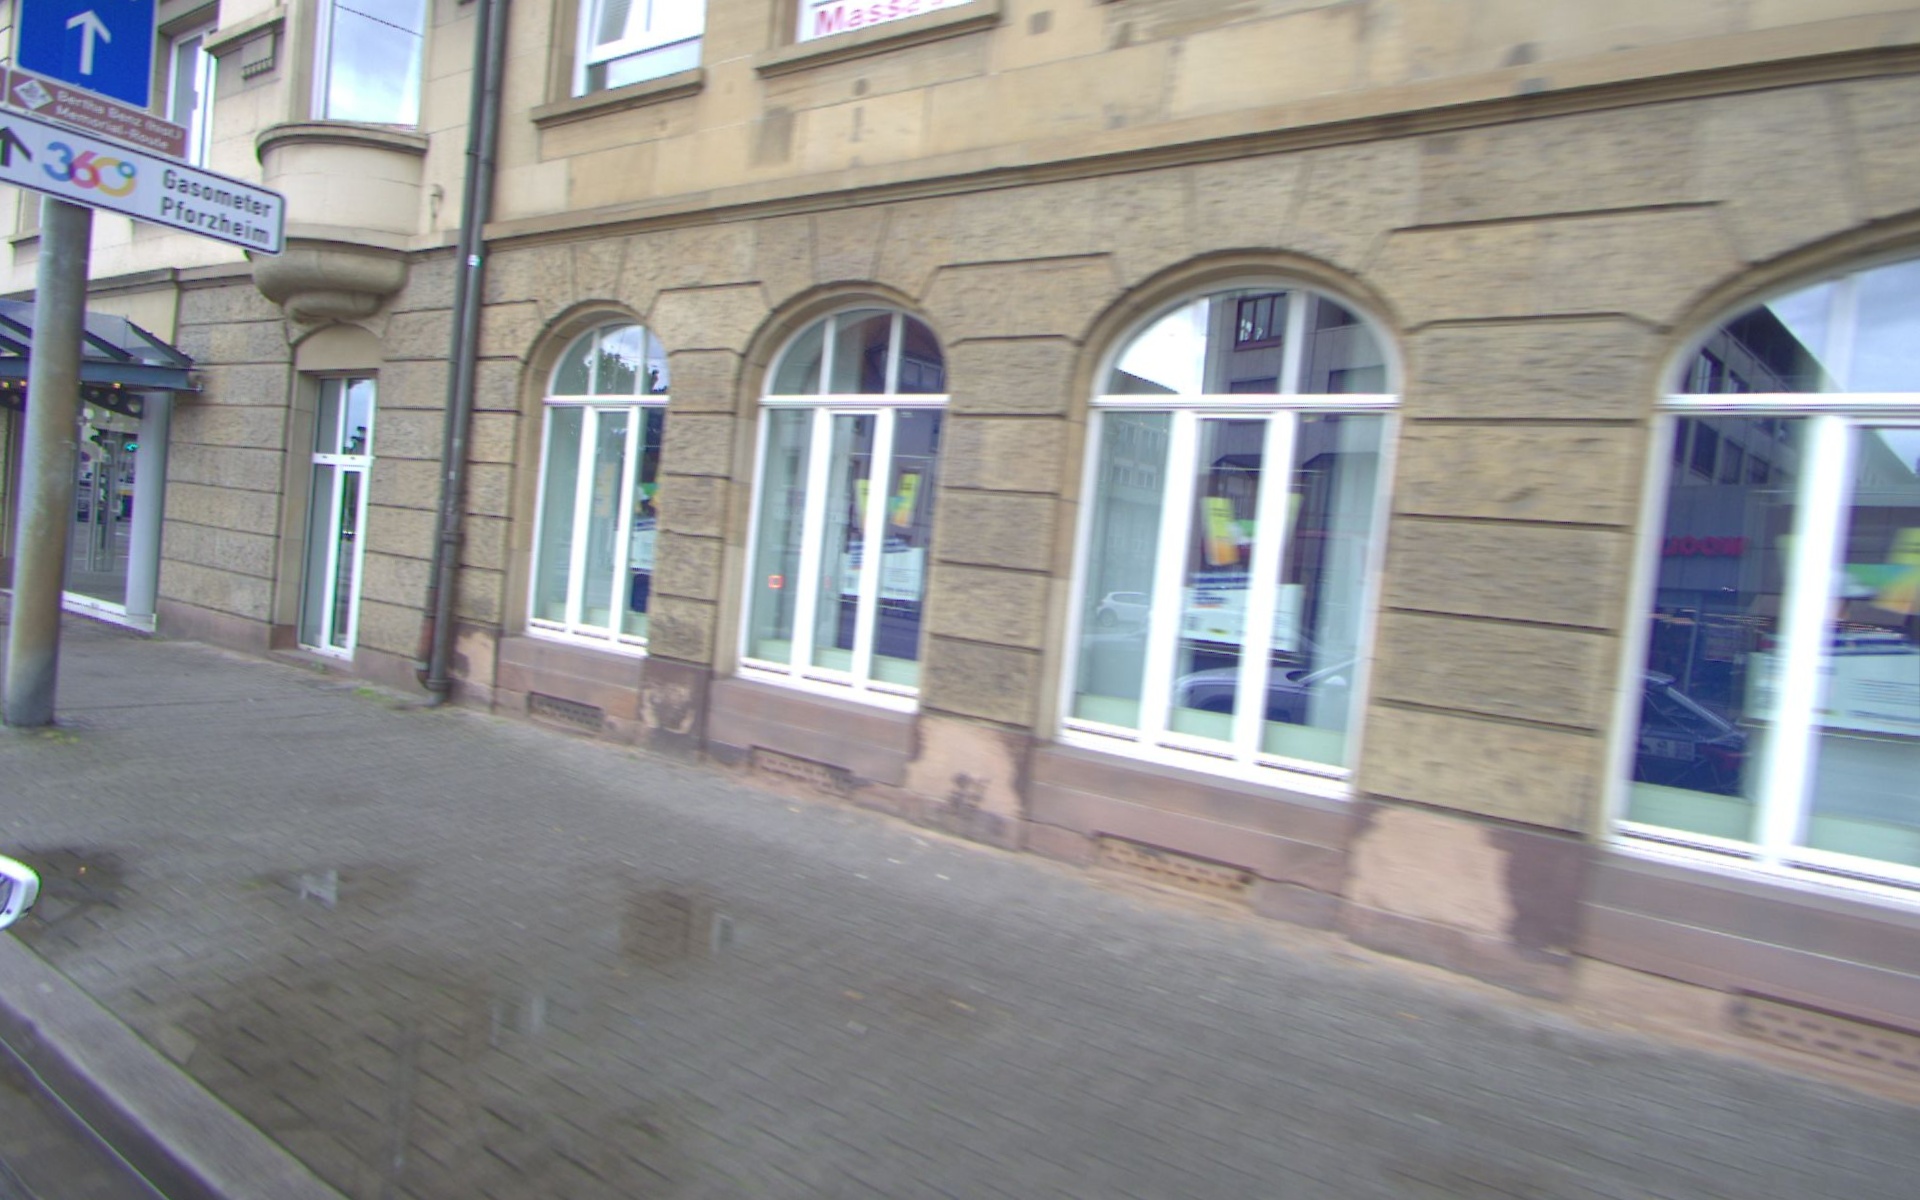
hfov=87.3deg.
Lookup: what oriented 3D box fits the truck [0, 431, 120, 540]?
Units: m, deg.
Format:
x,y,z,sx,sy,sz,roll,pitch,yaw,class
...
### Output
x,y,z,sx,sy,sz,roll,pitch,yaw,class
-29.121,-3.582,29.021,2.048,2.887,7.097,6,1,31,truck
